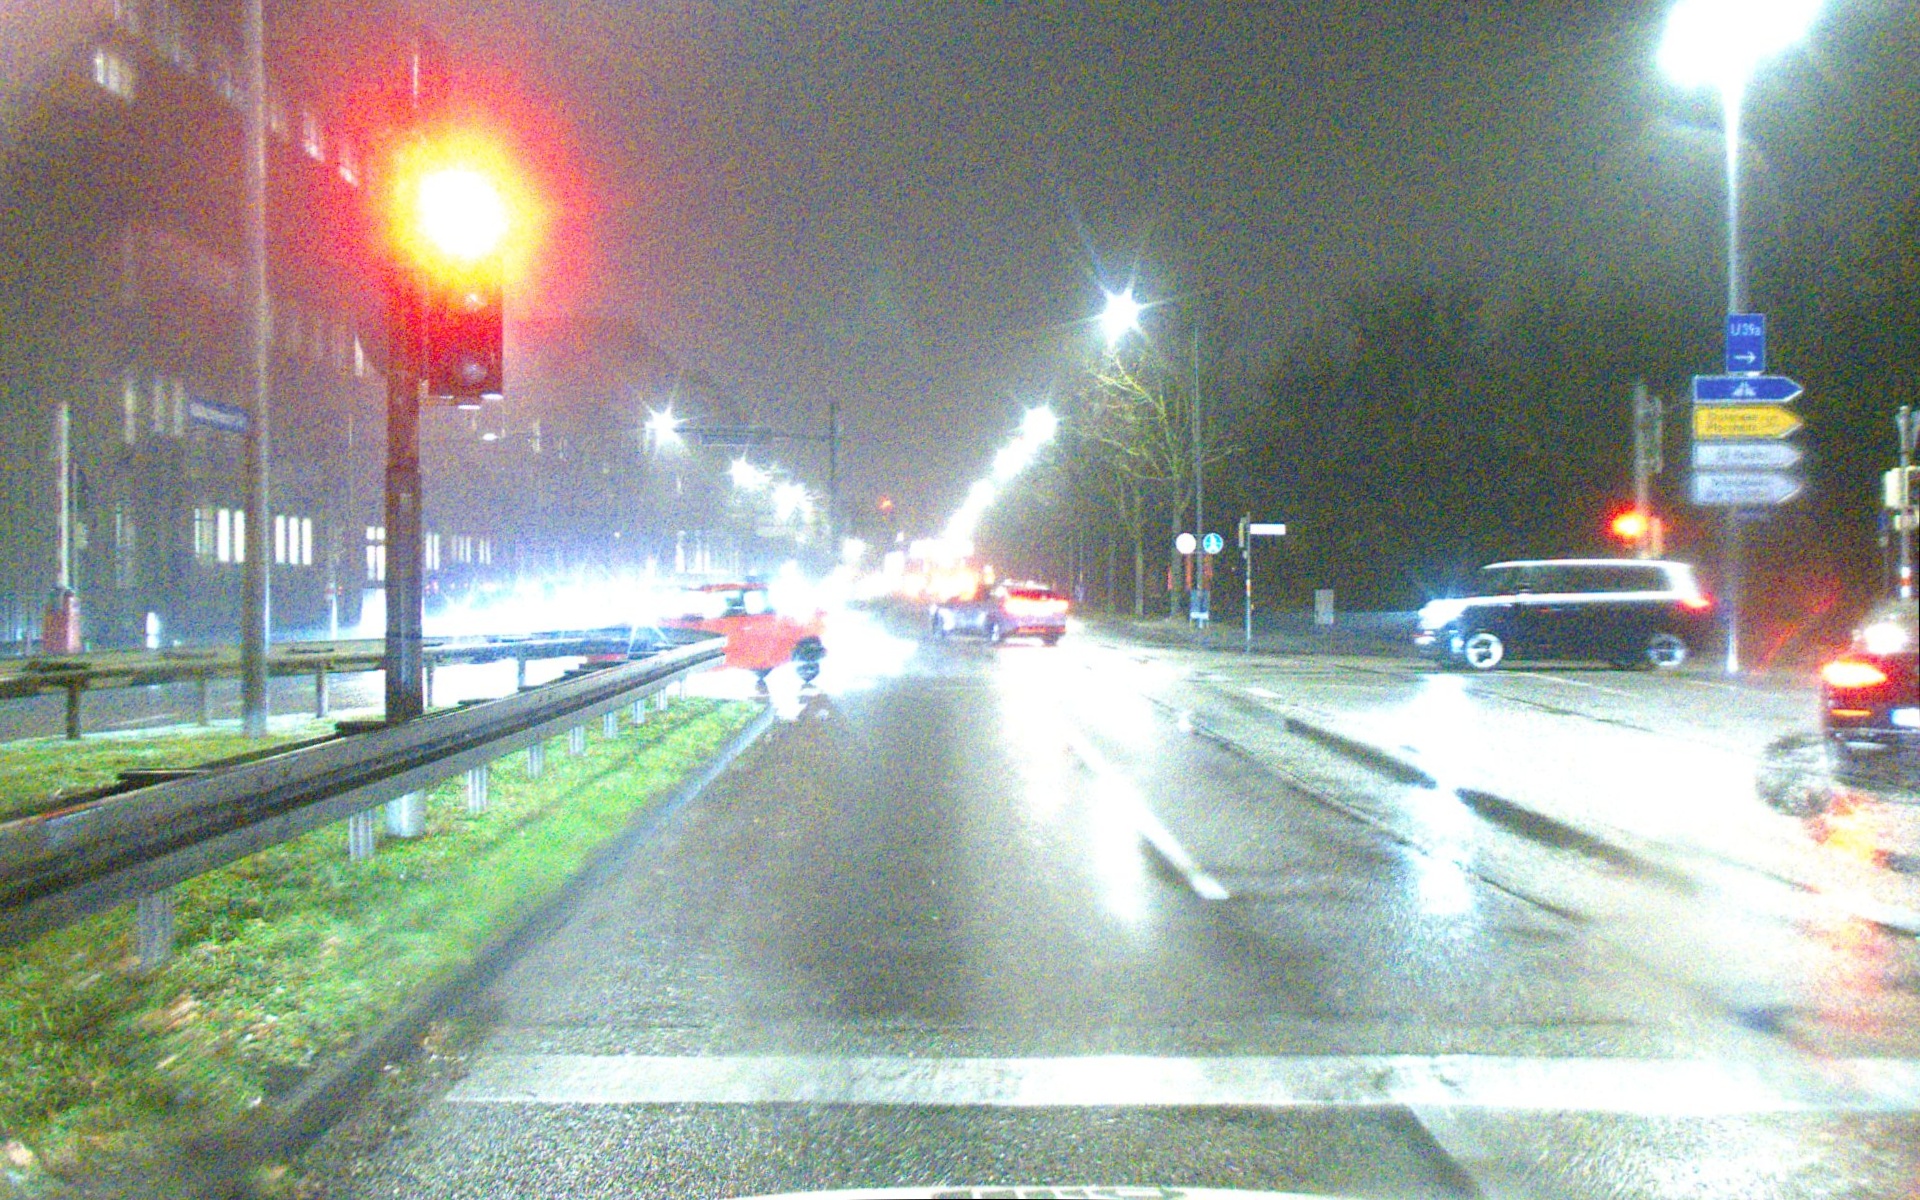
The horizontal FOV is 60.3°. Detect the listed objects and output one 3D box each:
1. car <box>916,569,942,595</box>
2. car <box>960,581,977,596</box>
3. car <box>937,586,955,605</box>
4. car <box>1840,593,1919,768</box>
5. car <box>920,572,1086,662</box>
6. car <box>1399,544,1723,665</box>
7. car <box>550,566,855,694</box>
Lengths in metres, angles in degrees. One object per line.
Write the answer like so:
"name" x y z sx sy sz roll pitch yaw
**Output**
"car" -2.625 -1.517 139.753 1.954 2.049 4.628 1 0 -4
"car" 1.041 -1.386 205.975 1.953 1.790 3.999 1 0 -1
"car" -1.454 -0.423 168.570 1.754 1.907 4.625 1 0 -2
"car" 9.153 0.657 15.279 1.719 1.414 4.558 1 1 29
"car" 1.029 0.420 42.681 2.111 2.182 4.881 1 0 -29
"car" 10.501 0.072 29.175 4.989 2.019 2.000 0 0 -1
"car" -3.791 0.386 24.484 4.028 1.615 1.892 -3 1 -31
